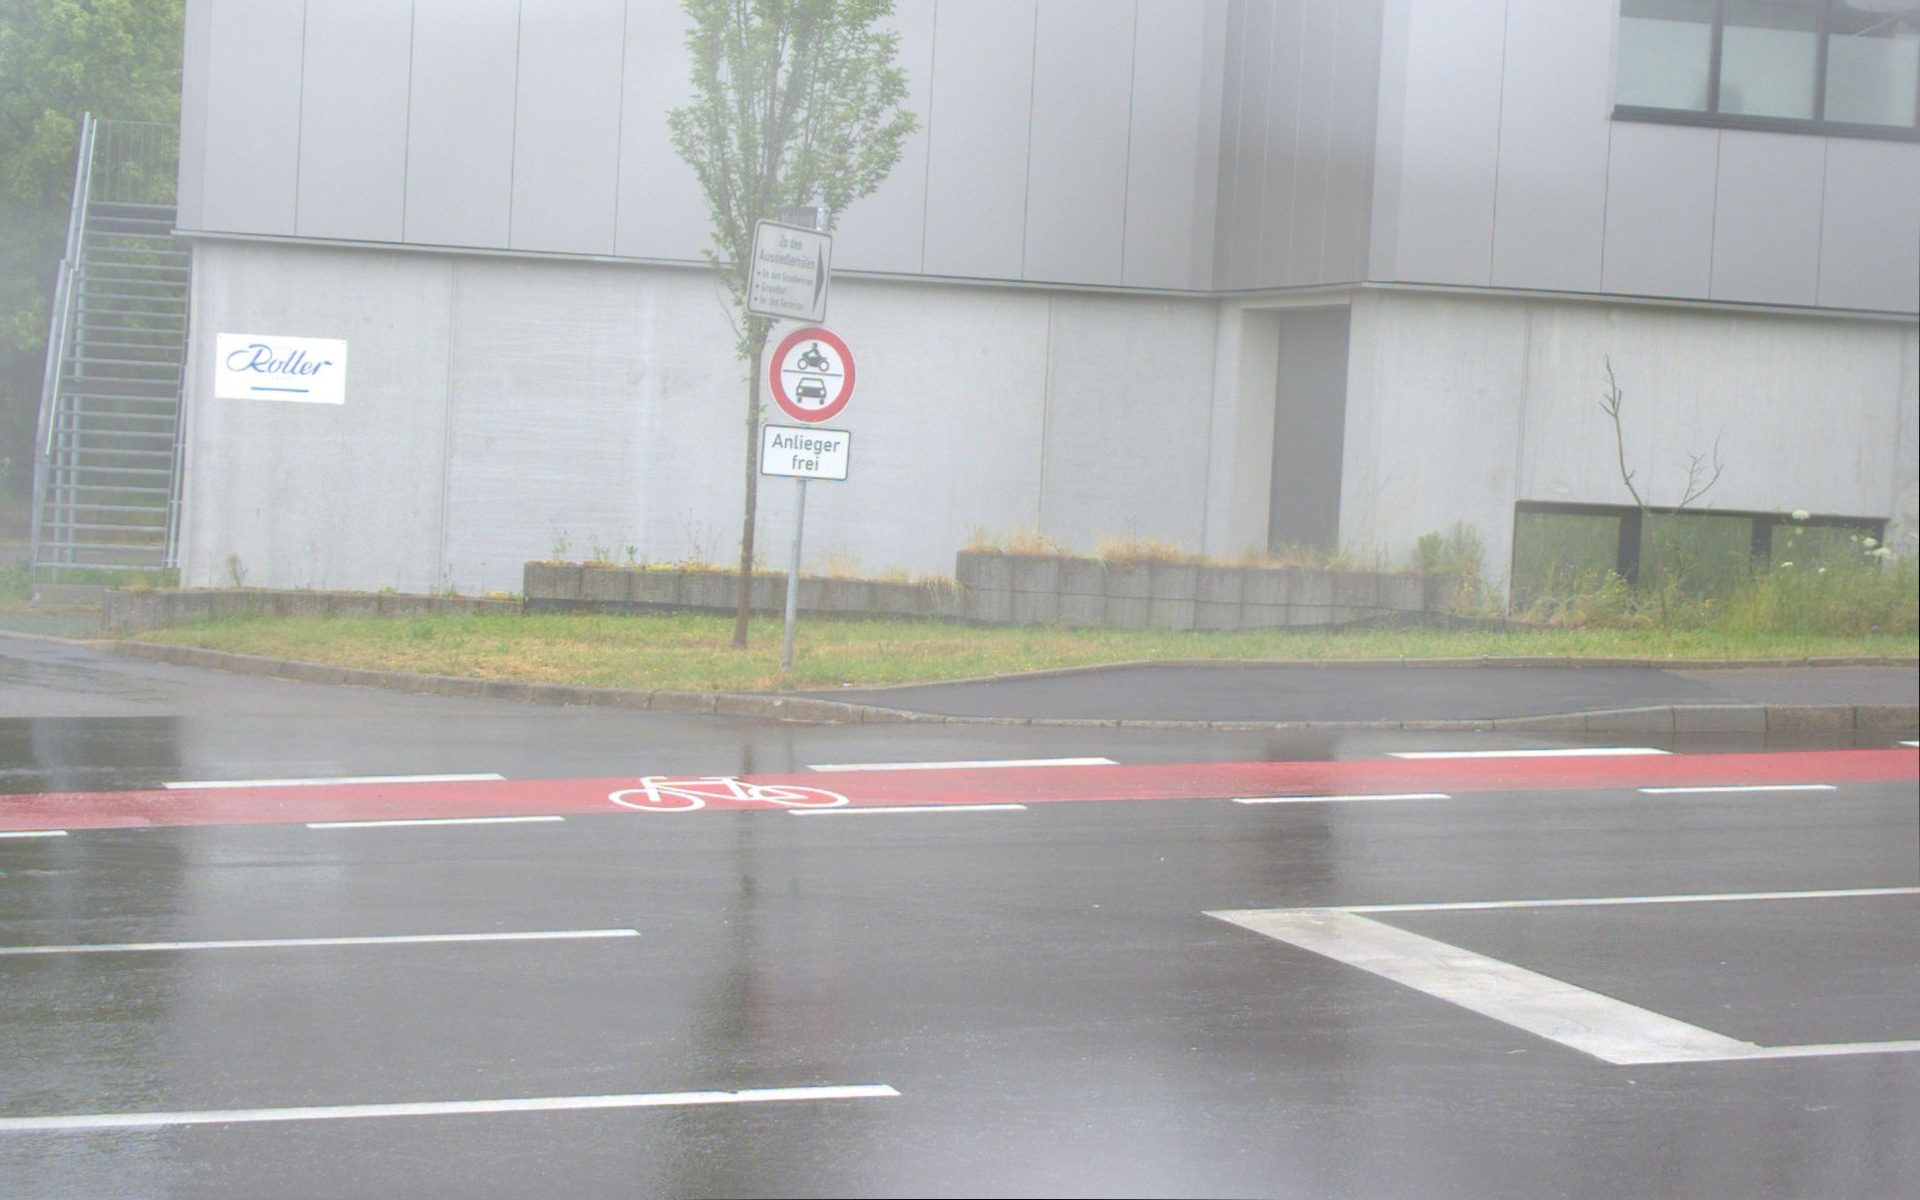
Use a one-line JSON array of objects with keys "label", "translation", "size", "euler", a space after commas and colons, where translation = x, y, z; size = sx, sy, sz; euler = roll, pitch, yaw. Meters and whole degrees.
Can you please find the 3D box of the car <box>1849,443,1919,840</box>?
[{"label": "car", "translation": [7.842, 0.256, 16.194], "size": [6.853, 1.809, 2.363], "euler": [1, 2, -19]}]
